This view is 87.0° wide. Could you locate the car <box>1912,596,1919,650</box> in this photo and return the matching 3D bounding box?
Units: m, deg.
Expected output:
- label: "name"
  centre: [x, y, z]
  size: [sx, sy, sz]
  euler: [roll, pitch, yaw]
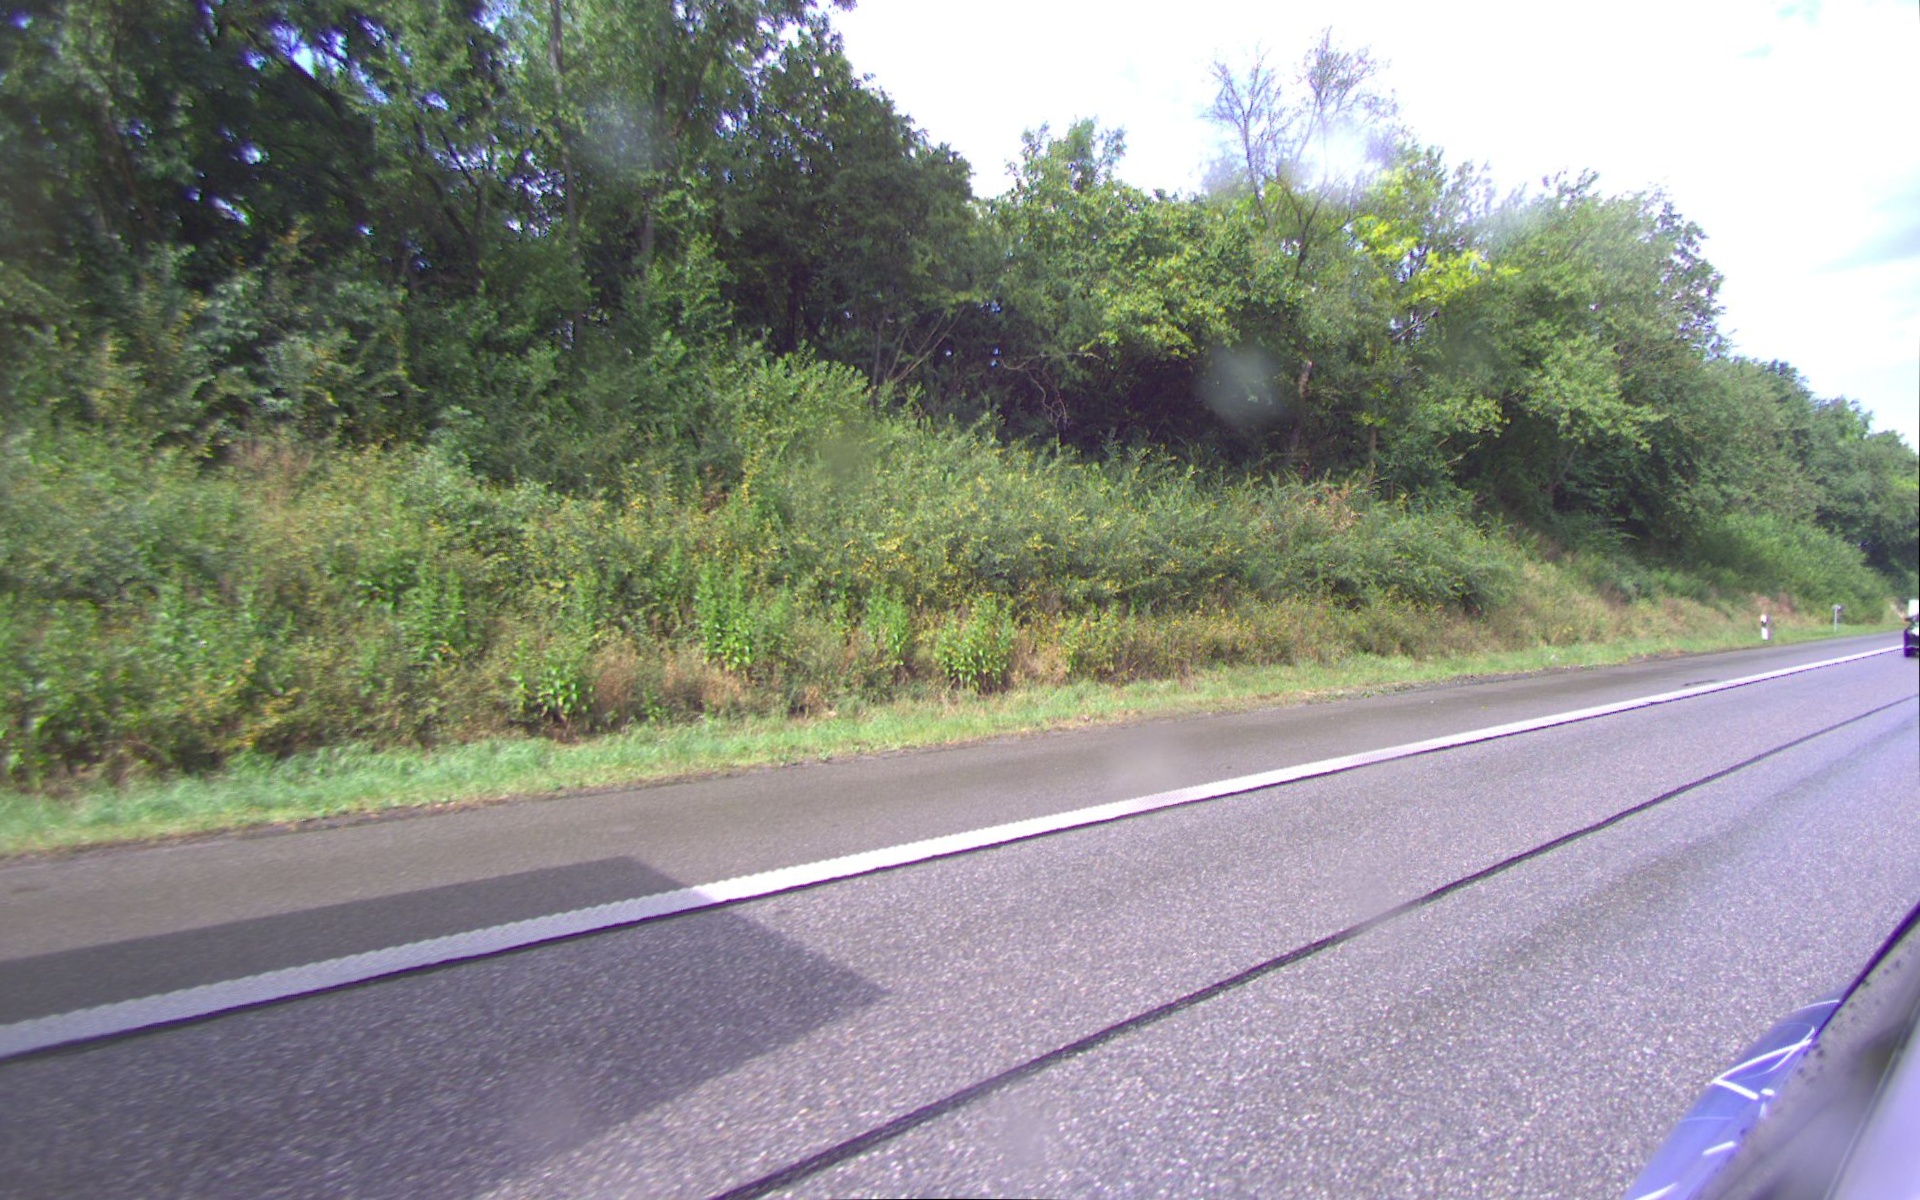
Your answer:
- label: "car"
  centre: [27.762, 0.592, 27.795]
  size: [4.753, 1.436, 1.798]
  euler: [-1, 0, -40]
